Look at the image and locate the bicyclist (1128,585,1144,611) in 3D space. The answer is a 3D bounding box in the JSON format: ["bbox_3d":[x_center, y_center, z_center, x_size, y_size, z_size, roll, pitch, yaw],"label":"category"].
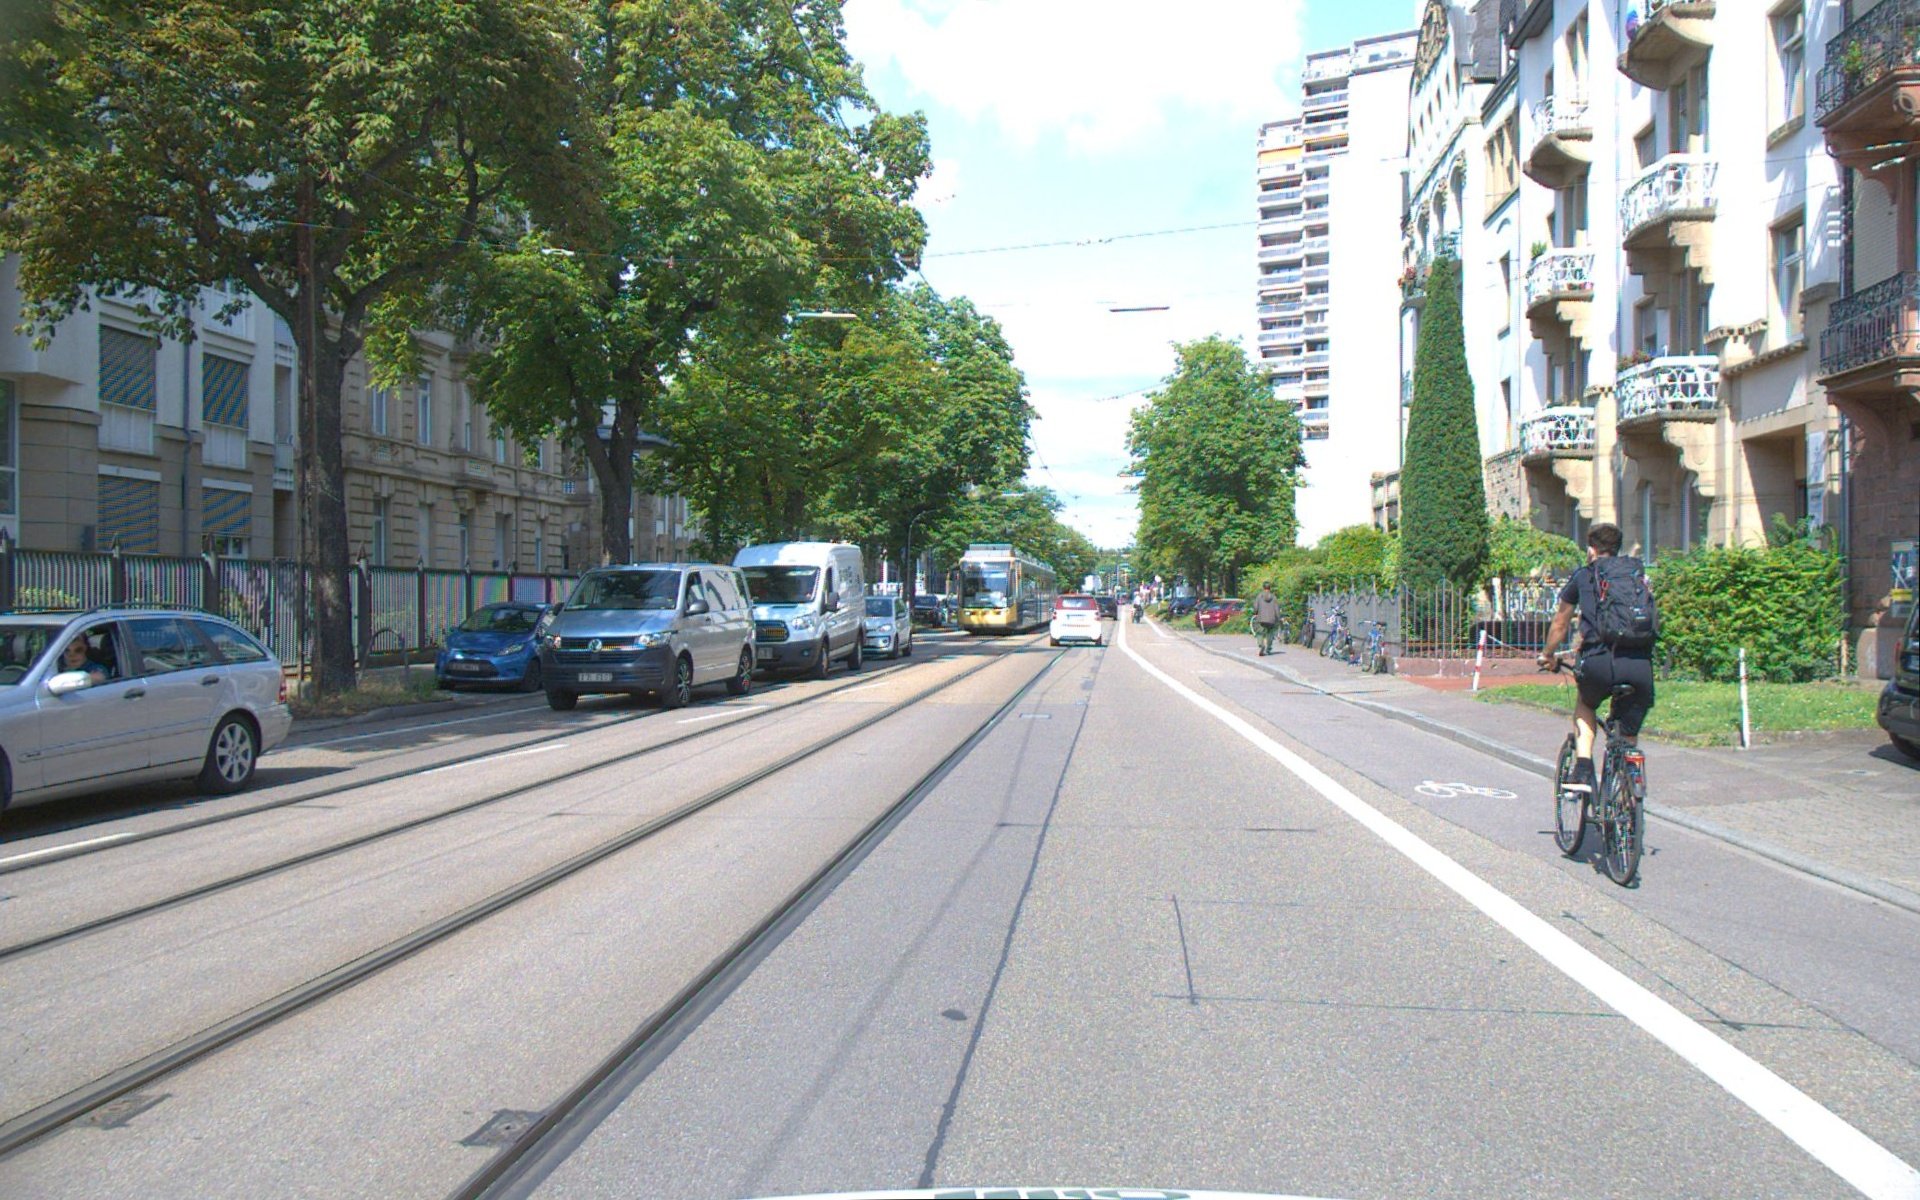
[{"bbox_3d":[10.519,-0.143,98.708,0.871,1.555,1.086,0,0,12],"label":"bicyclist"}]

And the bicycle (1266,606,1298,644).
[{"bbox_3d":[9.129,0.695,46.936,0.598,1.013,2.364,-3,-1,5],"label":"bicycle"}]

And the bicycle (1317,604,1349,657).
[{"bbox_3d":[8.337,0.668,36.997,0.441,1.142,1.845,-2,0,6],"label":"bicycle"}]

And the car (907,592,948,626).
[{"bbox_3d":[-1.738,0.495,89.578,1.713,1.694,4.723,2,0,5],"label":"car"}]

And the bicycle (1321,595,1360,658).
[{"bbox_3d":[7.981,0.540,34.755,0.441,1.283,1.845,-2,0,3],"label":"bicycle"}]

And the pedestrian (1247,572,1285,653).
[{"bbox_3d":[7.232,0.293,39.144,0.771,1.894,0.580,0,-1,-1],"label":"pedestrian"}]

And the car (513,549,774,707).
[{"bbox_3d":[-4.345,0.366,23.695,1.944,1.997,5.184,-1,0,10],"label":"car"}]

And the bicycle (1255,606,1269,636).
[{"bbox_3d":[10.143,0.694,55.565,0.268,0.922,1.669,-3,1,6],"label":"bicycle"}]

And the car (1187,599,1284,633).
[{"bbox_3d":[11.881,0.678,71.303,4.115,1.448,1.842,0,0,-37],"label":"car"}]

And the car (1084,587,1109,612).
[{"bbox_3d":[9.059,-0.058,109.482,1.630,1.653,3.623,0,0,5],"label":"car"}]

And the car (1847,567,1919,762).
[{"bbox_3d":[9.326,0.461,13.316,3.329,1.550,1.973,-2,0,8],"label":"car"}]

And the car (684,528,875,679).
[{"bbox_3d":[-3.243,0.014,31.343,2.267,2.551,6.368,0,1,6],"label":"car"}]

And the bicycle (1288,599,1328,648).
[{"bbox_3d":[9.126,0.618,43.448,0.724,1.252,2.518,0,0,5],"label":"bicycle"}]

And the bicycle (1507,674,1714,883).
[{"bbox_3d":[3.817,1.007,9.856,0.603,1.063,1.837,-3,-2,5],"label":"bicycle"}]

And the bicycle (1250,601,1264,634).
[{"bbox_3d":[10.439,0.626,58.096,0.273,1.128,2.012,-3,-1,6],"label":"bicycle"}]

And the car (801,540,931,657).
[{"bbox_3d":[-2.103,-0.037,39.204,2.267,2.551,6.367,0,0,4],"label":"car"}]

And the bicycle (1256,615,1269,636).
[{"bbox_3d":[10.259,0.860,56.190,0.273,0.689,1.560,-3,-1,6],"label":"bicycle"}]

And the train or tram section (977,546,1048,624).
[{"bbox_3d":[2.681,-0.634,80.683,2.596,3.448,11.480,-2,-1,6],"label":"train or tram section"}]

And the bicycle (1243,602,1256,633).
[{"bbox_3d":[10.770,0.652,61.601,0.273,1.128,2.012,-3,-1,6],"label":"bicycle"}]

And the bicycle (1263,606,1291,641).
[{"bbox_3d":[9.434,0.688,49.319,0.599,1.006,1.873,-2,-1,5],"label":"bicycle"}]

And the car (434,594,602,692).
[{"bbox_3d":[-7.736,0.722,29.299,1.516,1.545,4.087,2,0,5],"label":"car"}]

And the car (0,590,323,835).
[{"bbox_3d":[-6.483,0.704,11.603,1.656,1.506,4.486,-2,0,10],"label":"car"}]

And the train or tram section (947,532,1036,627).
[{"bbox_3d":[1.484,-0.729,68.882,2.596,3.497,12.323,-2,-1,6],"label":"train or tram section"}]

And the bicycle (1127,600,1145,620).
[{"bbox_3d":[10.512,0.613,98.629,0.856,1.145,2.138,2,0,12],"label":"bicycle"}]

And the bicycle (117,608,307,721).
[{"bbox_3d":[-9.244,0.794,20.479,2.034,1.332,0.613,2,0,-36],"label":"bicycle"}]

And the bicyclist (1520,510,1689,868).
[{"bbox_3d":[3.793,0.498,9.815,0.594,1.982,1.131,2,-1,5],"label":"bicyclist"}]

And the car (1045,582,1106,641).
[{"bbox_3d":[3.542,0.350,50.331,1.630,1.653,3.623,2,0,7],"label":"car"}]

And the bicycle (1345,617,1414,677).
[{"bbox_3d":[7.779,0.843,30.793,0.586,0.977,3.067,-4,0,3],"label":"bicycle"}]
